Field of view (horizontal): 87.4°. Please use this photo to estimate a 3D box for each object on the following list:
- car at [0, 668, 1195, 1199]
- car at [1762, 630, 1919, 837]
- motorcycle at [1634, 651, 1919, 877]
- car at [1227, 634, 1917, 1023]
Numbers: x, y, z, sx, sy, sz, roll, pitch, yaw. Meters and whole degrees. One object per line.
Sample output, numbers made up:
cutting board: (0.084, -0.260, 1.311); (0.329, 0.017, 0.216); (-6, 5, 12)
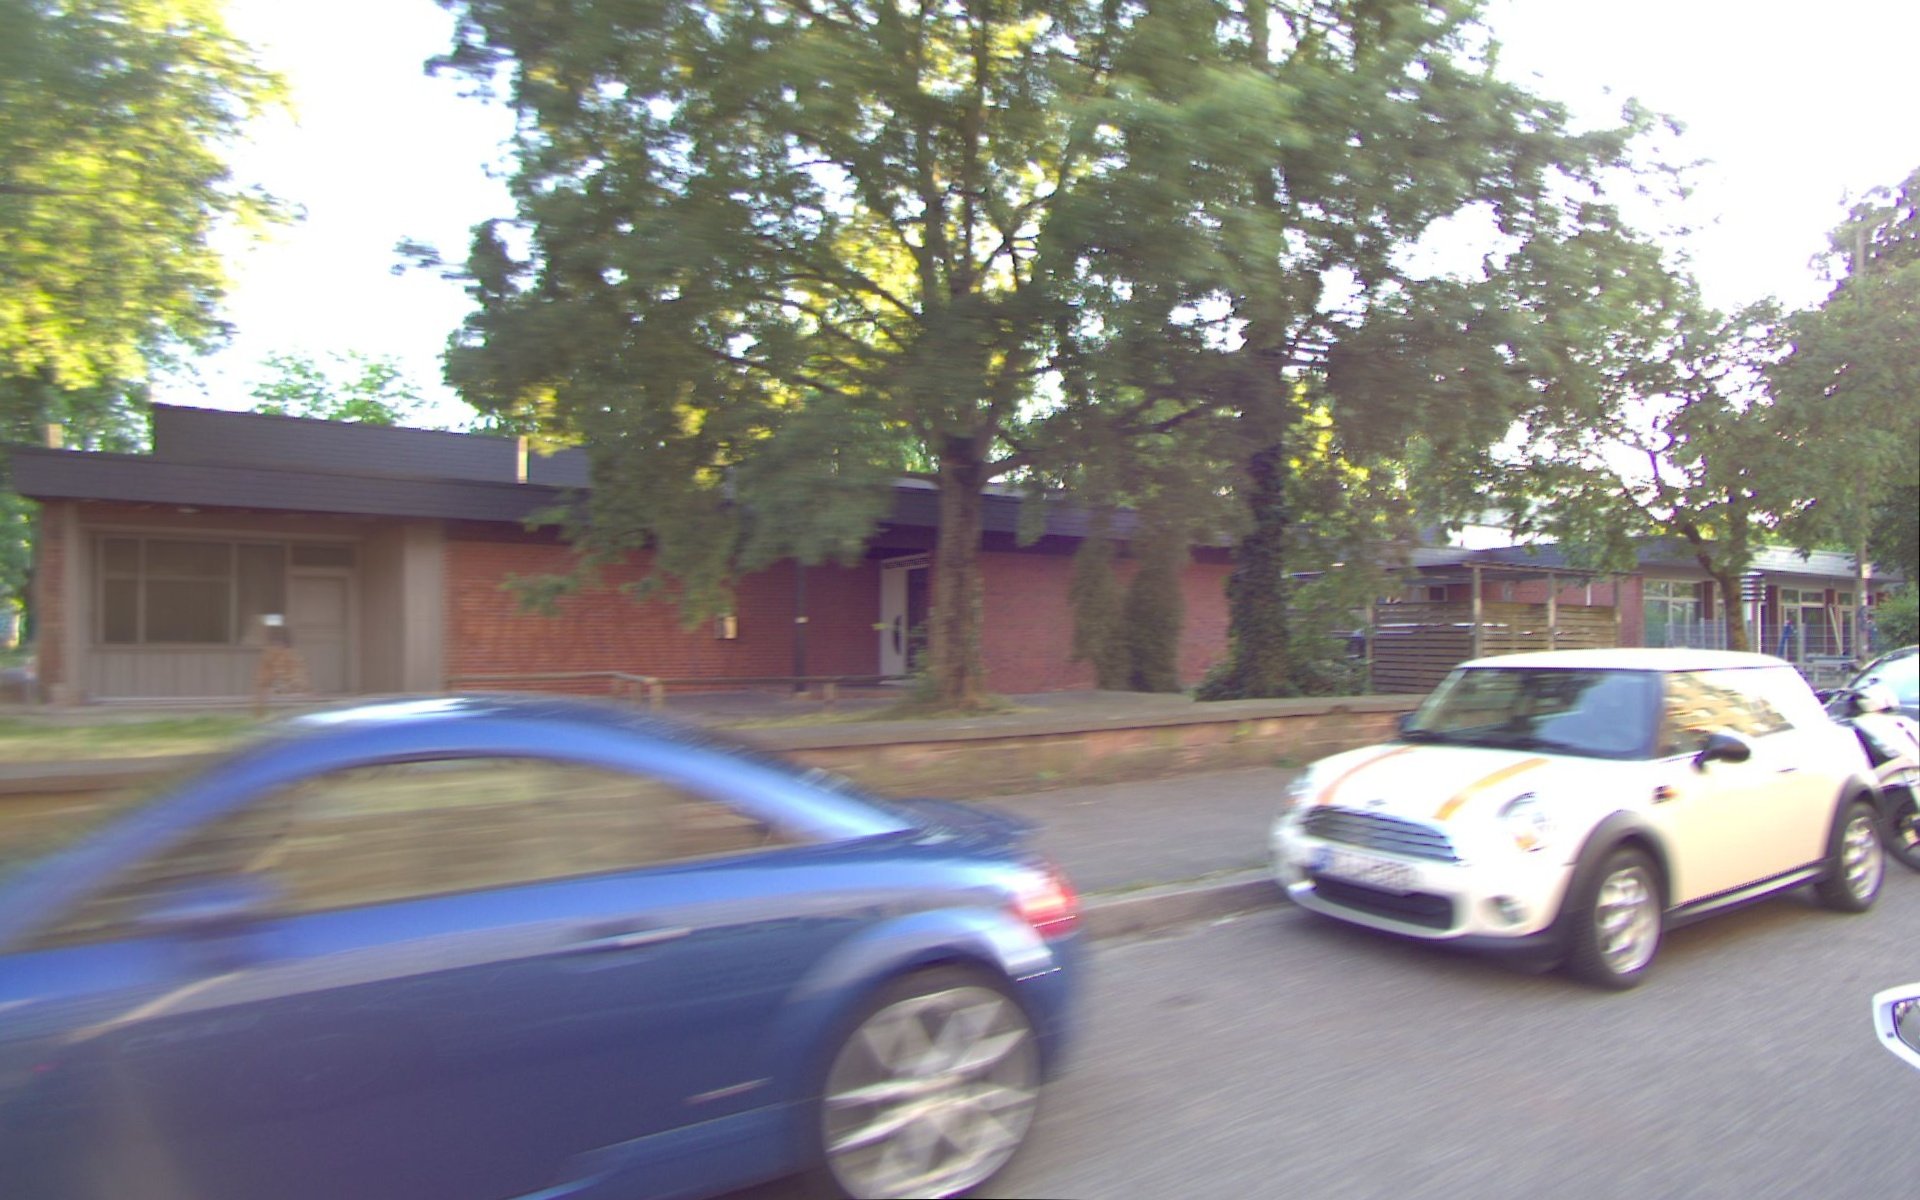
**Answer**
car: (-1.499, 0.882, 2.664); (4.104, 1.330, 1.652); (1, -3, -29)
car: (8.853, 1.035, 8.575); (4.310, 1.515, 1.707); (1, -3, -31)
motorcycle: (6.136, 1.071, 7.178); (0.865, 1.321, 2.165); (1, -1, -15)
car: (3.402, 0.956, 5.452); (3.760, 1.450, 1.594); (2, -5, -31)
